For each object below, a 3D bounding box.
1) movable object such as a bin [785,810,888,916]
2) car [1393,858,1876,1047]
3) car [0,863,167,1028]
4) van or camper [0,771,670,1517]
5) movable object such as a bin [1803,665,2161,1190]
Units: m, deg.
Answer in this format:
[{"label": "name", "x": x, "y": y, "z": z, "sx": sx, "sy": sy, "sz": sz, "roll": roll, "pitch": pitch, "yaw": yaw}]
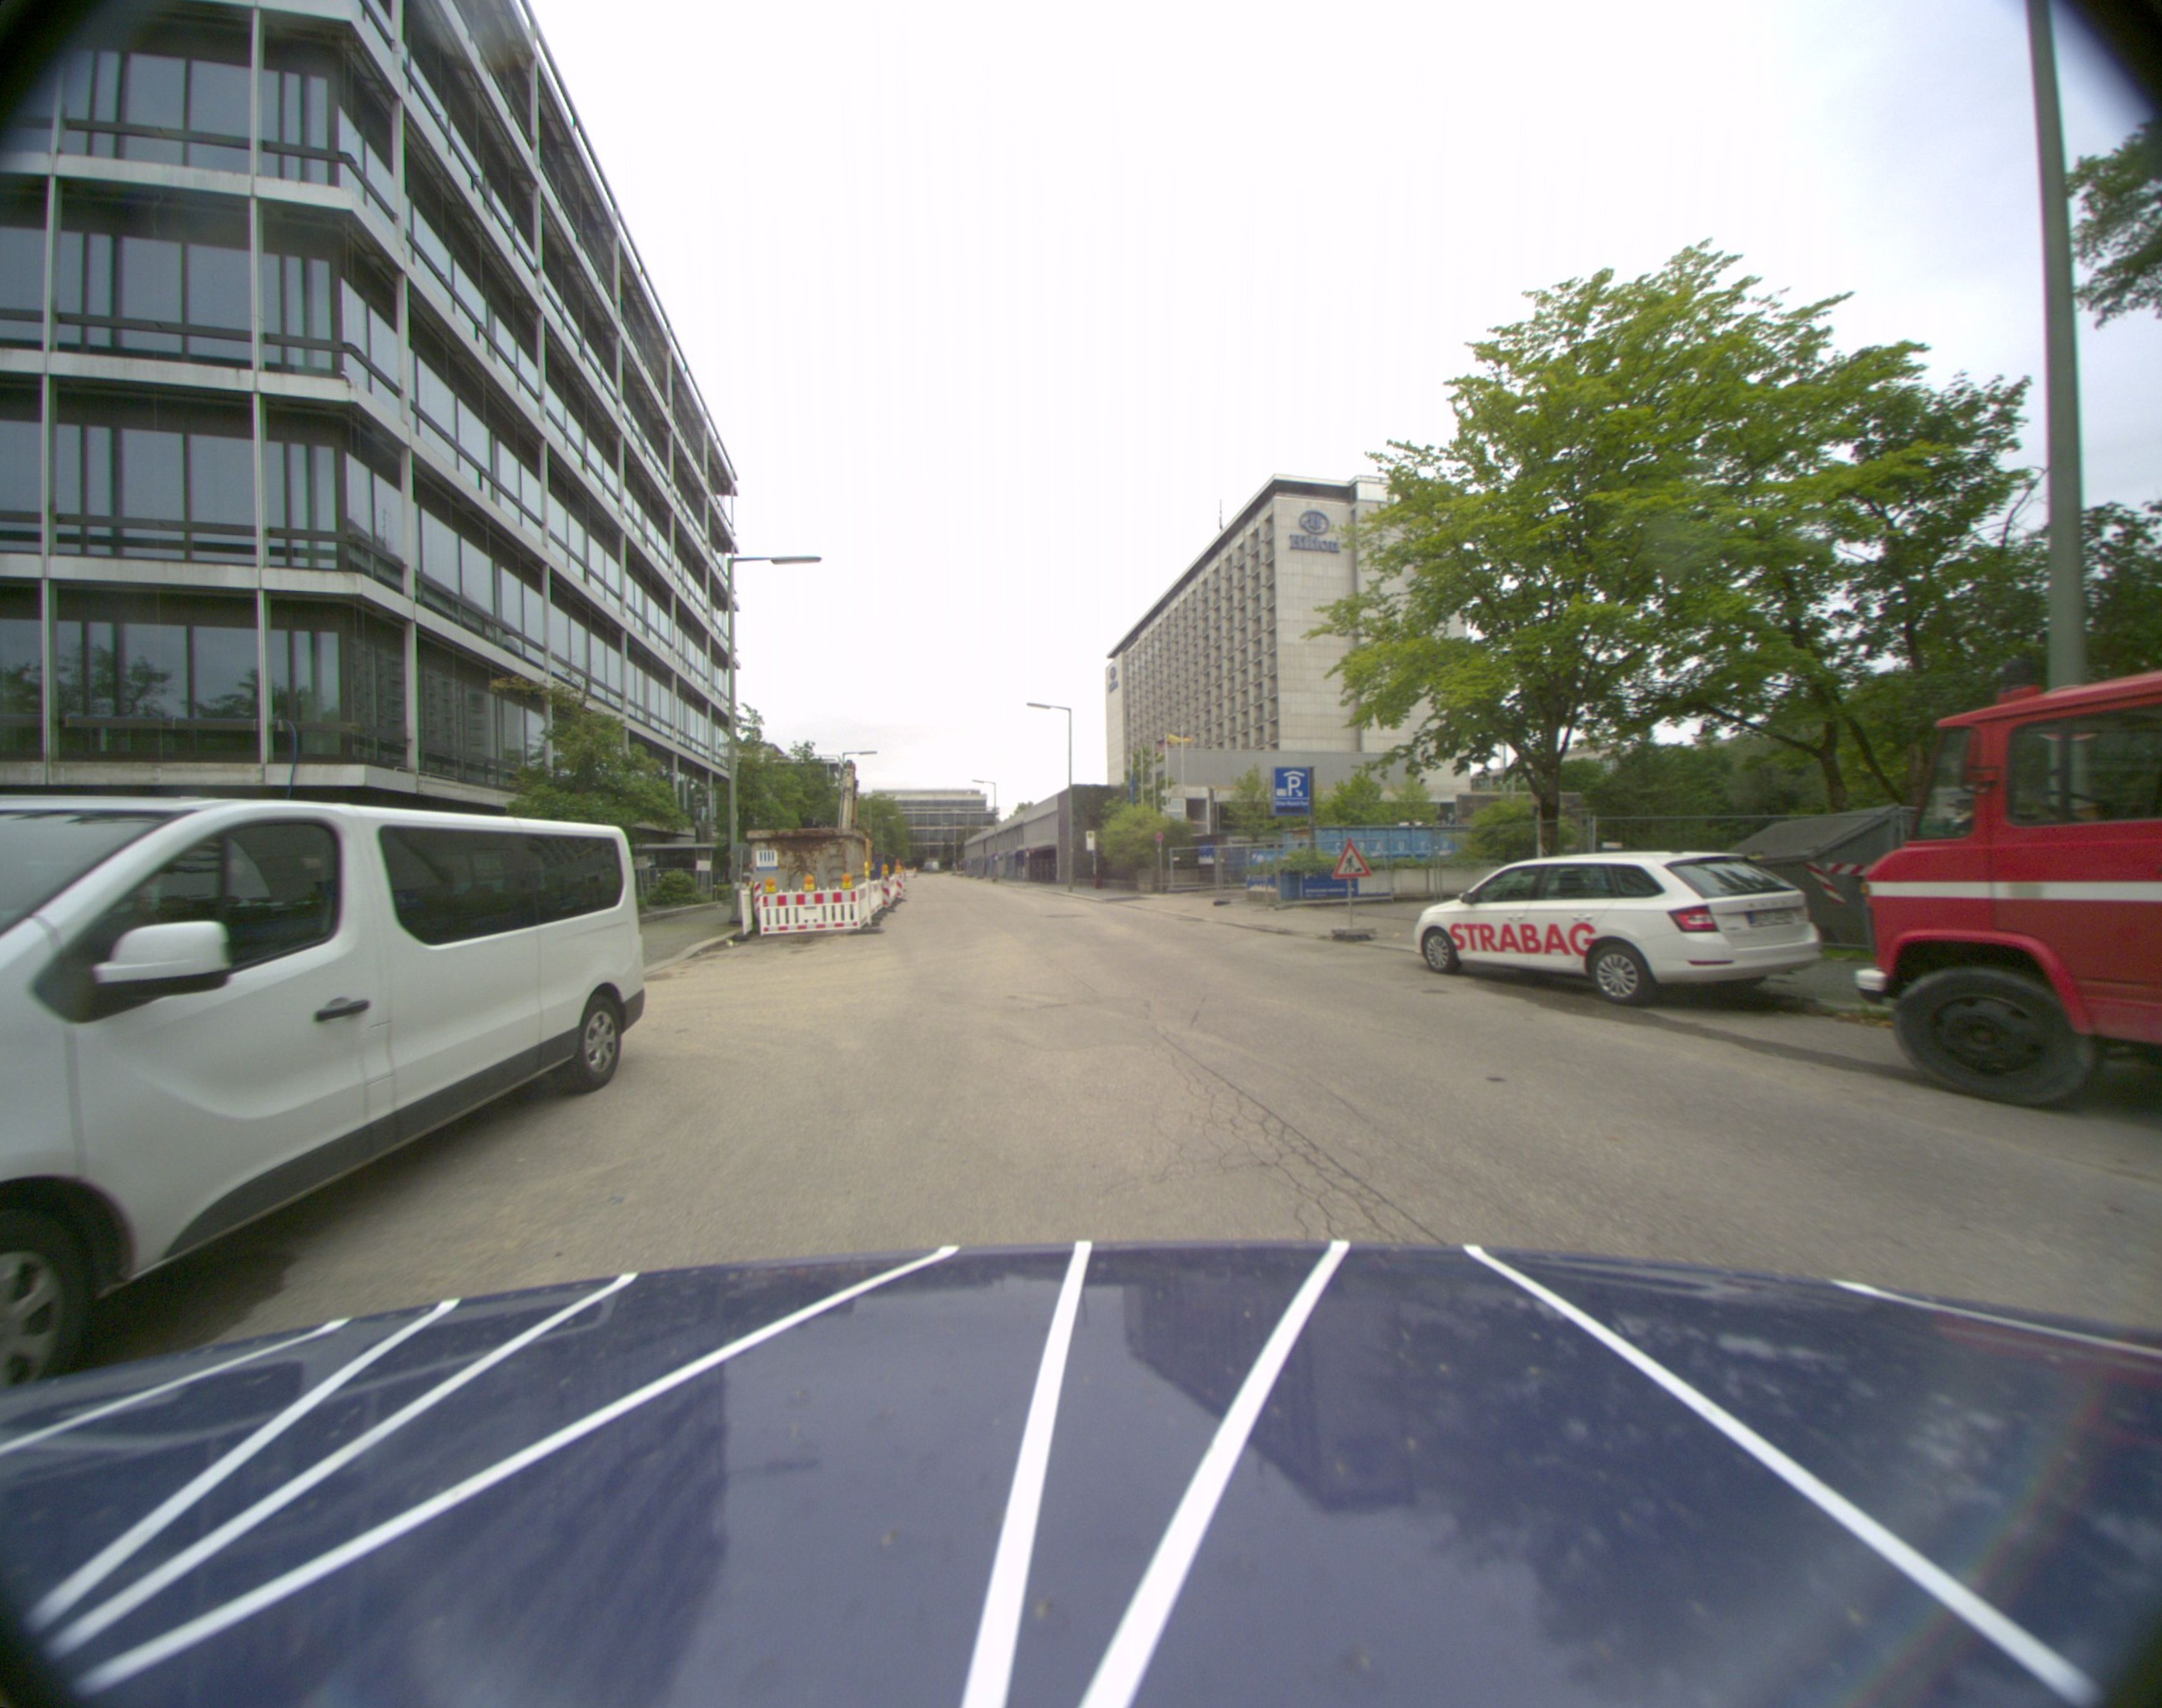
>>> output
[{"label": "movable object such as a bin", "x": -9.769, "y": 0.320, "z": 31.375, "sx": 3.253, "sy": 3.695, "sz": 8.997, "roll": -1, "pitch": 0, "yaw": -13}, {"label": "car", "x": 5.699, "y": 0.857, "z": 8.619, "sx": 1.783, "sy": 1.540, "sz": 4.252, "roll": -1, "pitch": -1, "yaw": -14}, {"label": "car", "x": -15.103, "y": 1.146, "z": 9.291, "sx": 4.777, "sy": 1.910, "sz": 1.998, "roll": -2, "pitch": 0, "yaw": -11}, {"label": "van or camper", "x": -4.174, "y": 0.803, "z": 3.749, "sx": 2.000, "sy": 2.002, "sz": 5.372, "roll": -1, "pitch": 0, "yaw": -8}, {"label": "movable object such as a bin", "x": 6.292, "y": 0.306, "z": 2.133, "sx": 2.111, "sy": 2.444, "sz": 6.183, "roll": -1, "pitch": -1, "yaw": -8}]
